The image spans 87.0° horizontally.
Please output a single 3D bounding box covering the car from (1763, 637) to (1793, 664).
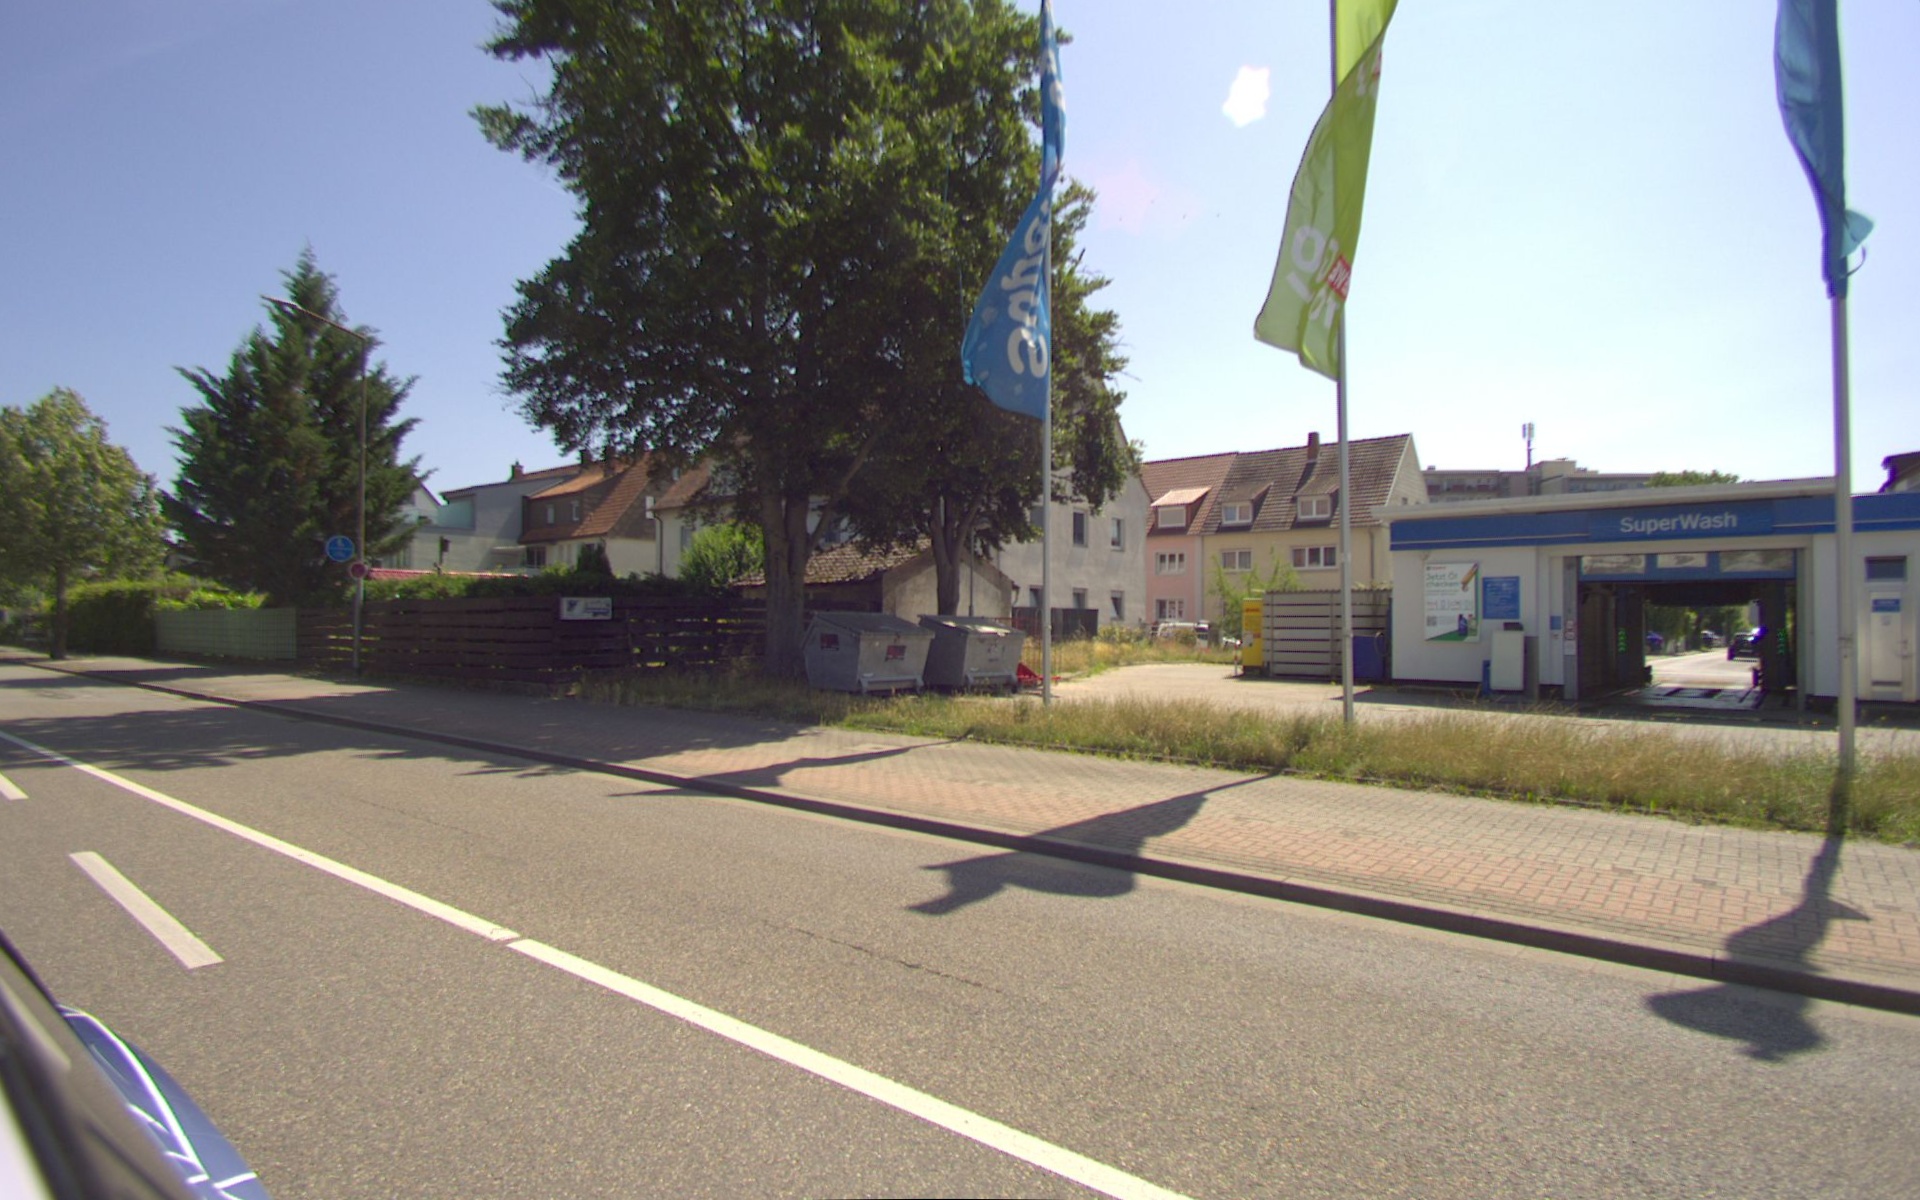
[{"bbox_3d":[62.165,3.793,76.935,1.770,1.796,4.347,1,1,39],"label":"car"}]

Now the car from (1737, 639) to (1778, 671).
[{"bbox_3d":[43.424,2.972,55.099,1.668,1.494,4.061,1,1,39],"label":"car"}]
